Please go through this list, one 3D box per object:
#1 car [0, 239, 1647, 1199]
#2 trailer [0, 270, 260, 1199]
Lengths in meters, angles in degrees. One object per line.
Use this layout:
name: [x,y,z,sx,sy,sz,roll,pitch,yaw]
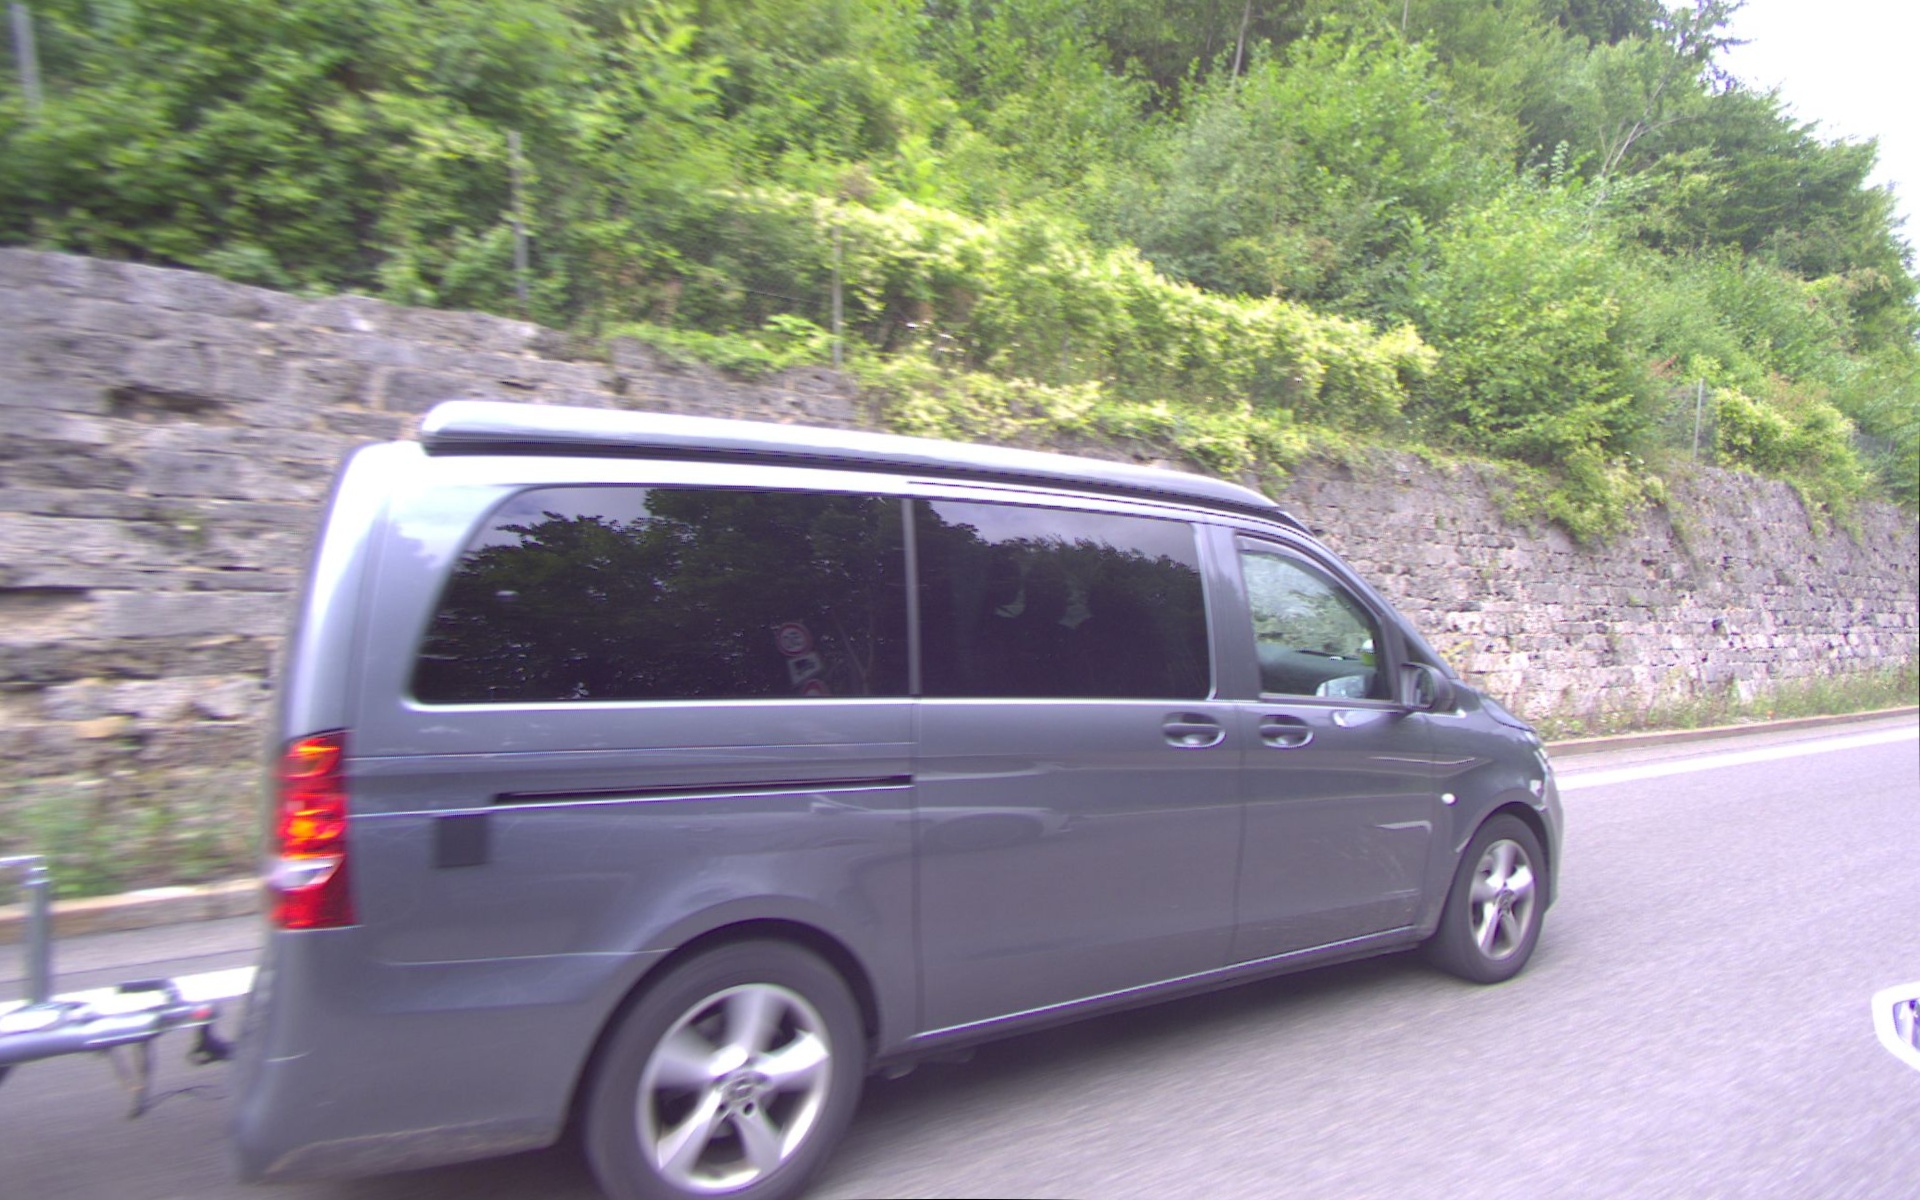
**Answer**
car: [0.154,0.473,3.791,5.477,2.040,1.983,1,0,-32]
trailer: [-3.312,0.440,1.656,3.391,1.965,1.961,1,0,-32]
